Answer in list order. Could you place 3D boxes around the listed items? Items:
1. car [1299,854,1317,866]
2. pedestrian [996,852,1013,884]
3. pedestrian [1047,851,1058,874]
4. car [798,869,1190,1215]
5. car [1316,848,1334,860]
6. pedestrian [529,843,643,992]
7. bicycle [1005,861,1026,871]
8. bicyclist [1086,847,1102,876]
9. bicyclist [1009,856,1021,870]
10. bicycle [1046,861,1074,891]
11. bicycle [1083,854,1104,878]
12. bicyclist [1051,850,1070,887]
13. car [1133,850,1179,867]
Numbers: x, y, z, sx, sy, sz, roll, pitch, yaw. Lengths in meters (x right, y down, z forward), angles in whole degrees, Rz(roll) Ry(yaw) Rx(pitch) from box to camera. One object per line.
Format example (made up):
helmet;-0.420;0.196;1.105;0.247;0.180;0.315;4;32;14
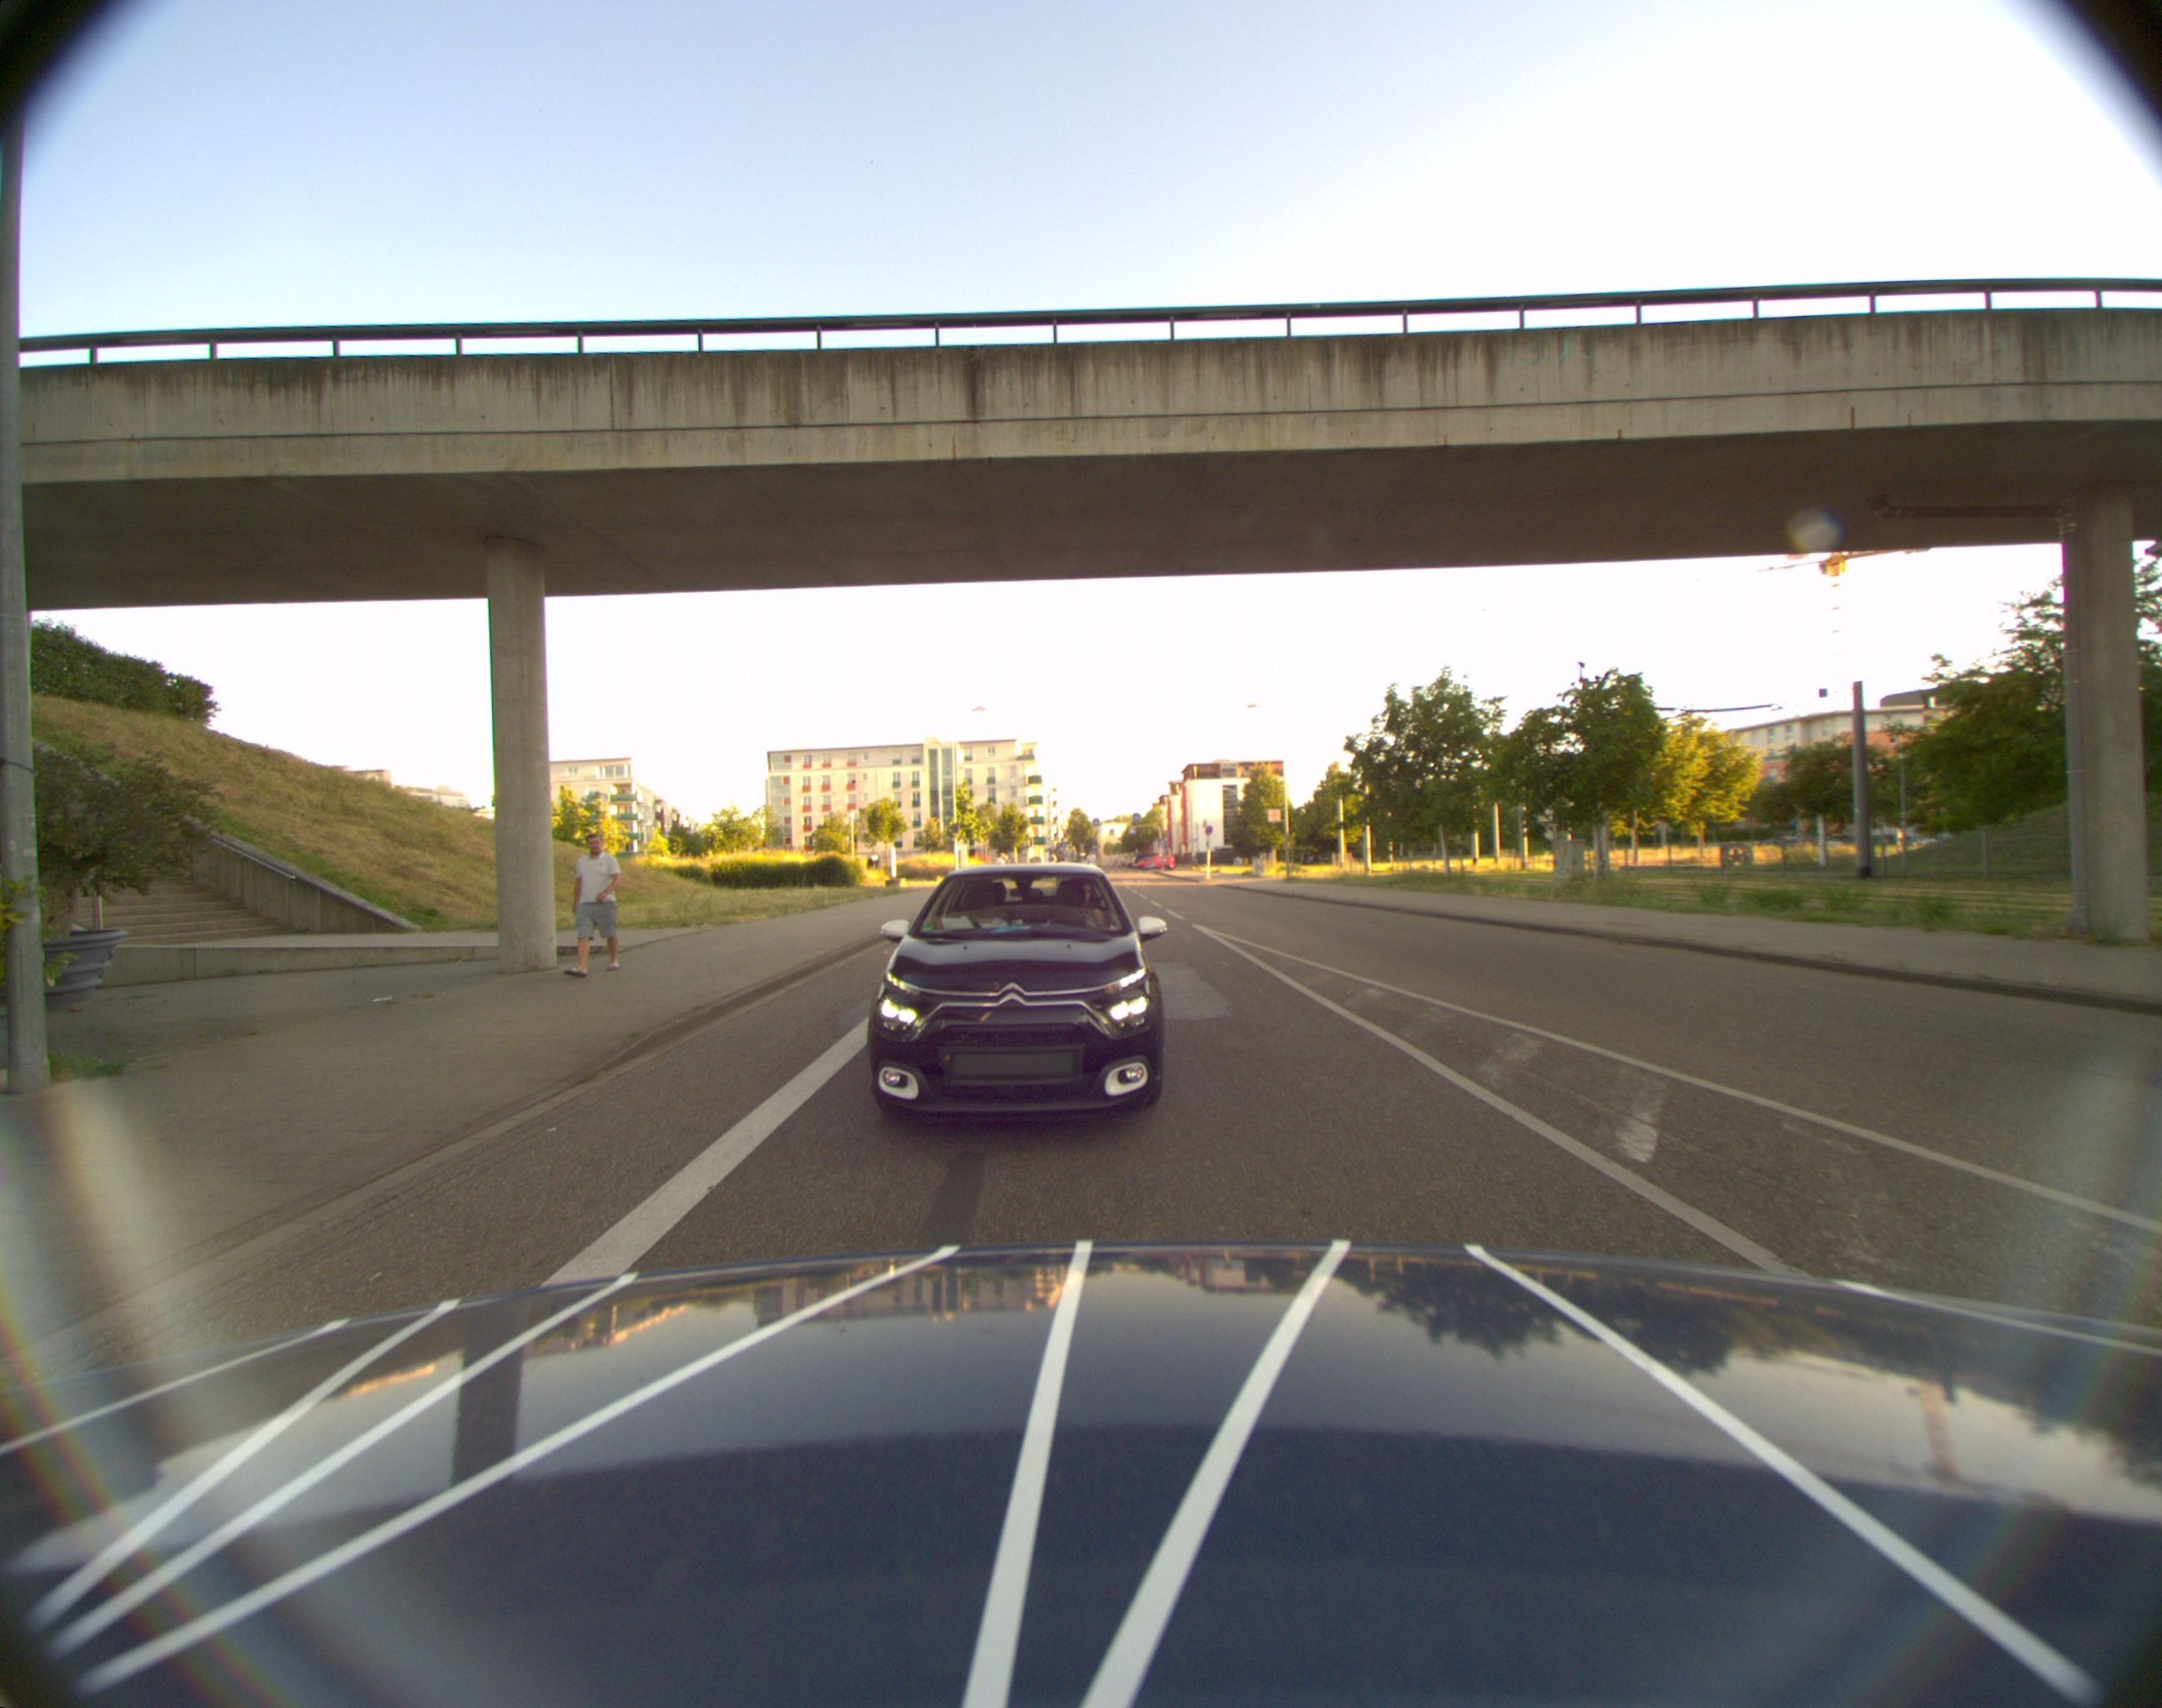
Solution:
car;29.048;0.756;97.239;1.942;1.521;4.004;-2;0;14
pedestrian;-3.923;0.730;38.929;0.737;1.620;0.859;0;0;2
pedestrian;-2.130;0.655;56.627;0.737;1.714;0.532;0;0;1
car;-0.365;0.902;5.471;1.739;1.455;4.000;-2;0;1
car;31.042;-0.006;96.716;1.942;1.521;4.004;-2;0;14
pedestrian;-6.030;0.740;9.307;0.737;1.714;0.906;-2;0;1
bicycle;-7.764;1.415;89.777;0.902;1.142;3.490;-2;0;-31
bicyclist;0.869;0.500;51.504;0.882;1.865;1.035;-2;0;8
bicyclist;-7.758;1.021;89.384;0.934;1.585;1.065;-2;0;-32
bicycle;-0.927;0.964;34.191;0.661;1.217;2.441;-2;0;11
bicycle;0.853;0.780;51.392;0.886;1.483;3.324;-2;0;10
bicyclist;-0.918;0.627;34.129;0.696;1.630;0.852;-2;0;8
car;9.722;0.567;98.482;5.513;2.002;2.003;-2;0;24
